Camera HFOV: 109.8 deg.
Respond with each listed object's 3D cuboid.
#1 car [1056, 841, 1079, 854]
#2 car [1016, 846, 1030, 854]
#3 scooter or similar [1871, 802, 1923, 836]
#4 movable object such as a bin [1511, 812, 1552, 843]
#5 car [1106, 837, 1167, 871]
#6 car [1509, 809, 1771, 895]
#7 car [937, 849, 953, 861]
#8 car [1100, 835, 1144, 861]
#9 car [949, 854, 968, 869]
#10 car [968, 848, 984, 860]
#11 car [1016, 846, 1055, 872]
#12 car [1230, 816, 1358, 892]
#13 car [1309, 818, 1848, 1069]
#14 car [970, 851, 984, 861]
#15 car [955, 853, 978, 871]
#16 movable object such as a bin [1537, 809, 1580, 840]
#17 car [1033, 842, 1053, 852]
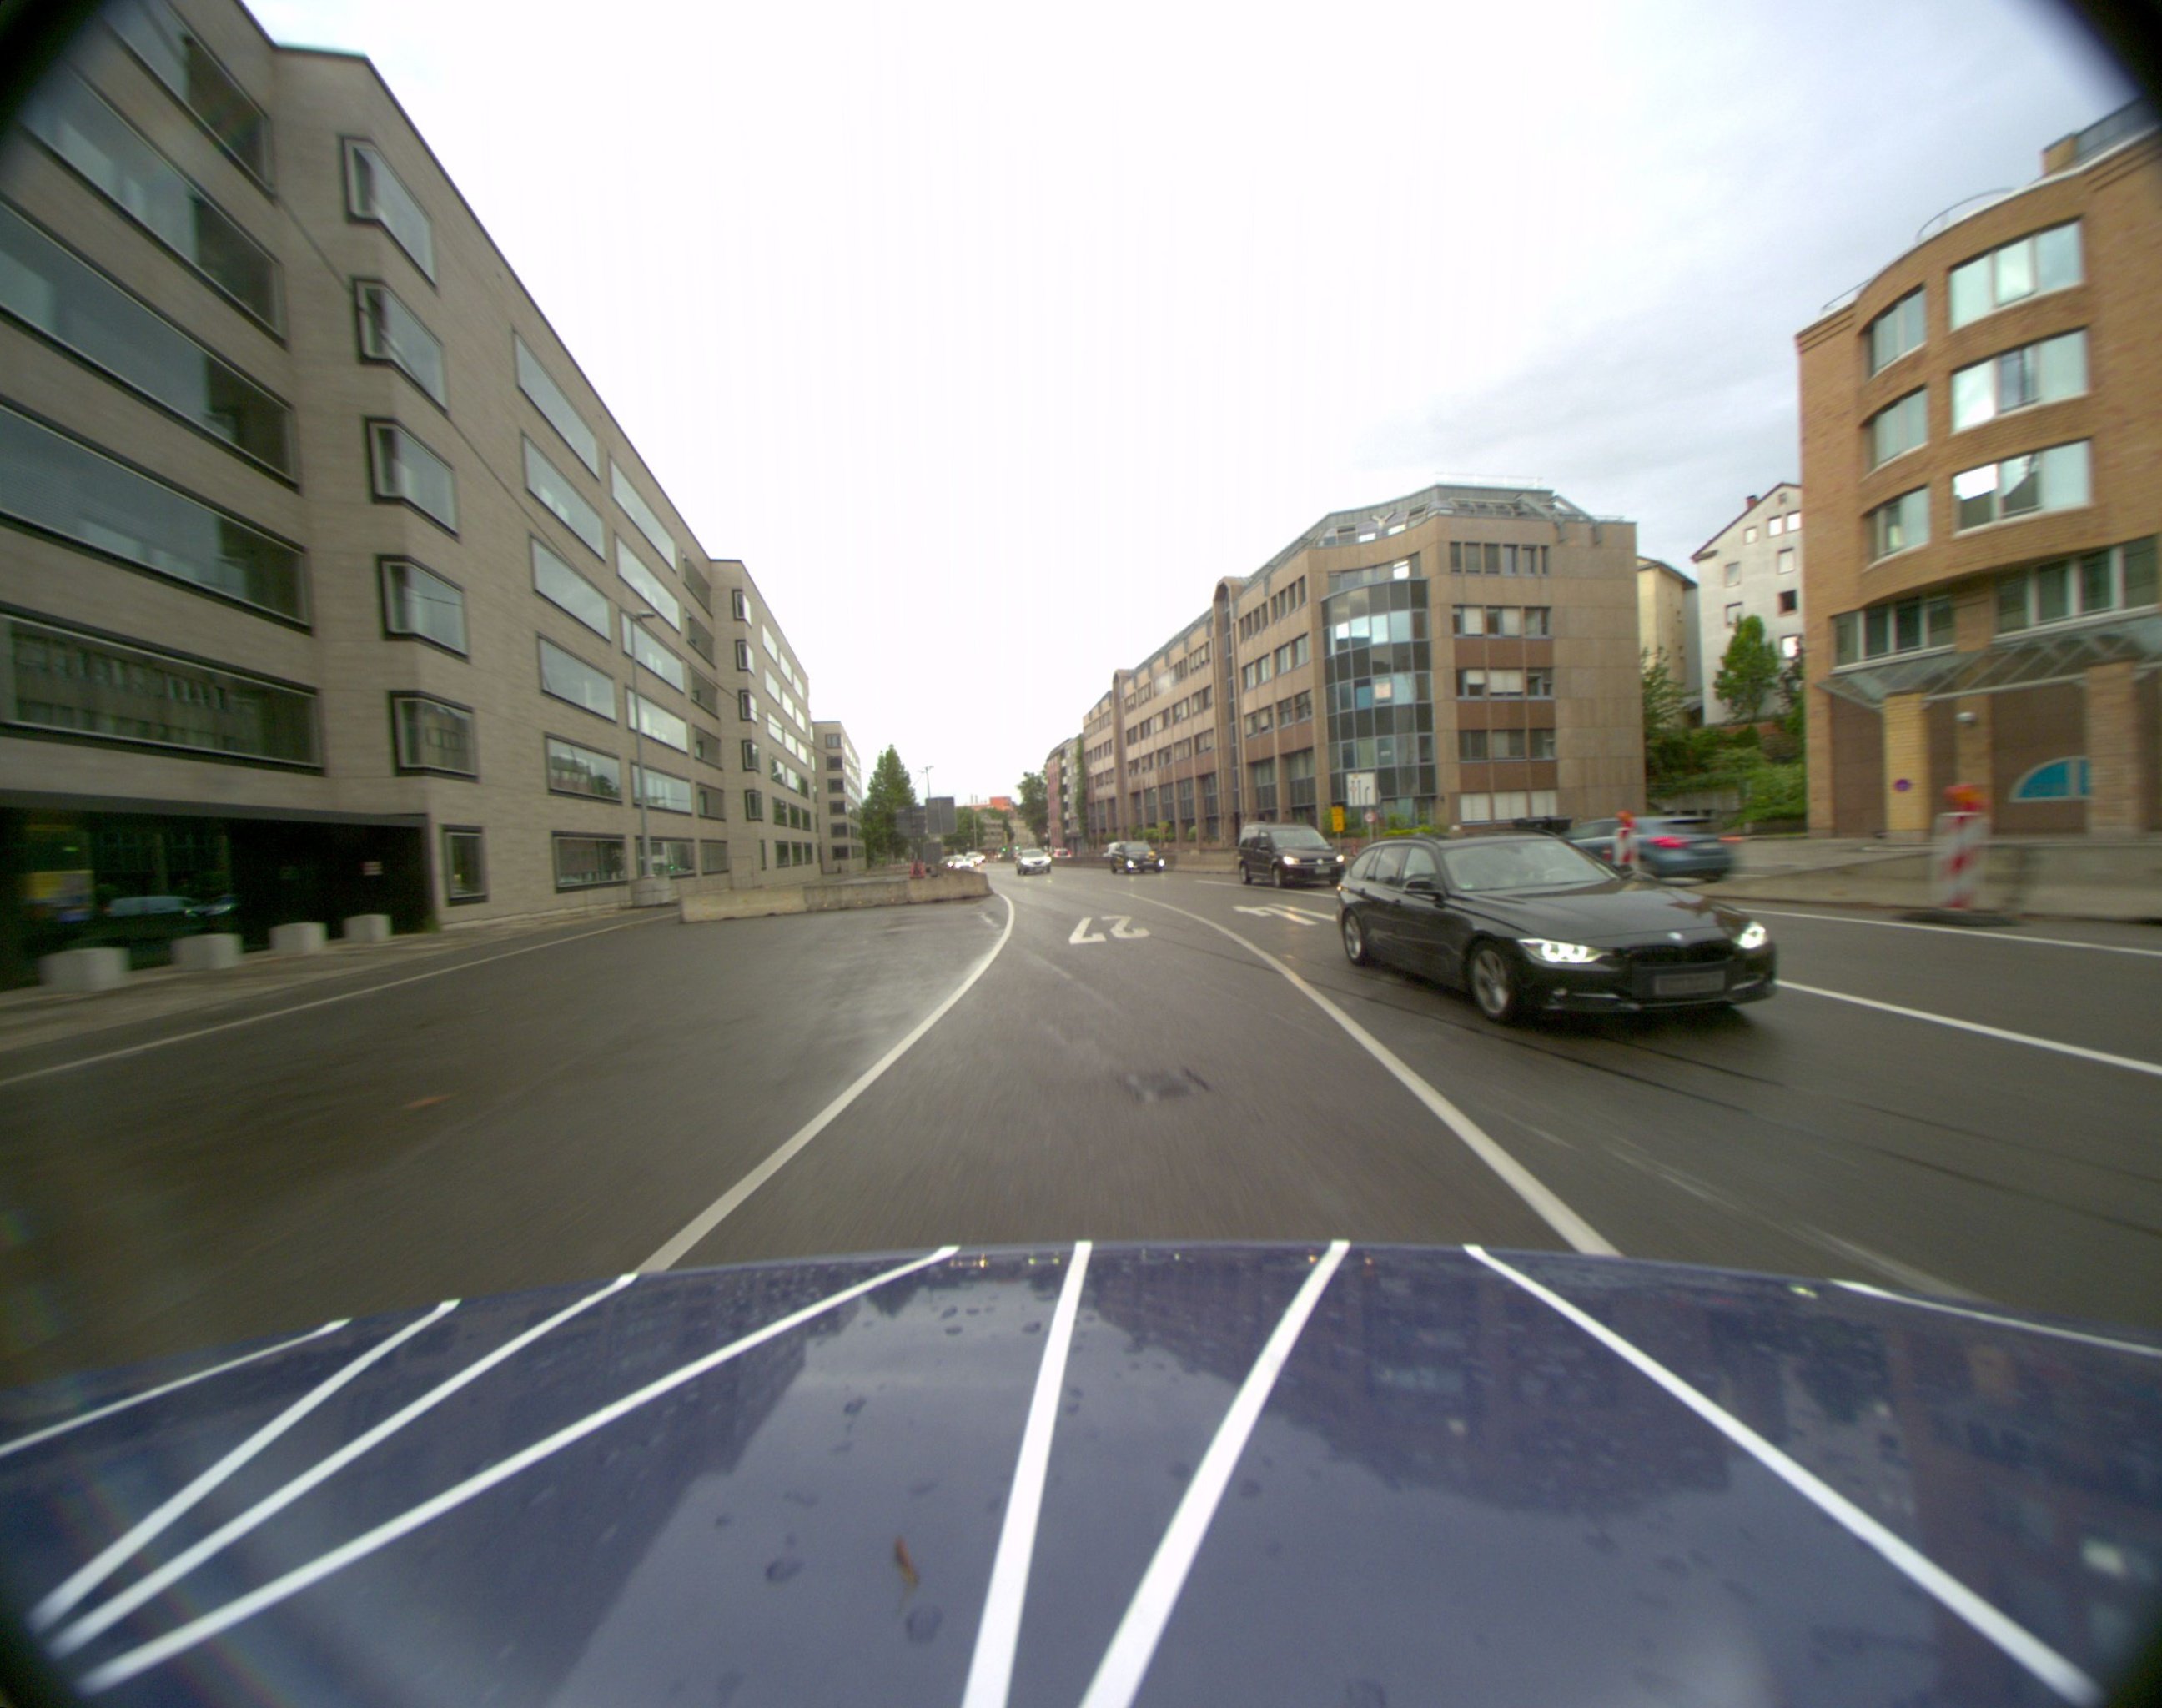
[{"bbox_3d":[-1.405,-0.650,75.773,1.618,1.224,3.723,-4,1,-10],"label":"car"},{"bbox_3d":[-9.788,-0.673,128.349,1.725,1.312,3.692,-4,1,-13],"label":"car"},{"bbox_3d":[26.584,-1.135,24.759,0.450,1.057,1.043,-4,1,-23],"label":"scooter or similar"},{"bbox_3d":[23.288,-1.366,39.302,1.246,1.471,1.349,-4,1,-5],"label":"movable object such as a bin"},{"bbox_3d":[2.684,0.000,38.070,1.774,1.525,4.351,-4,1,-13],"label":"car"},{"bbox_3d":[11.527,-0.059,16.110,2.000,1.451,4.224,-4,1,-9],"label":"car"},{"bbox_3d":[-18.489,0.142,103.135,1.774,1.525,4.651,-4,1,-13],"label":"car"},{"bbox_3d":[3.090,-0.461,58.370,1.893,1.773,4.870,-4,1,-14],"label":"car"},{"bbox_3d":[-14.016,0.874,86.843,1.774,1.525,4.651,-4,1,-13],"label":"car"},{"bbox_3d":[-14.196,-0.020,102.615,1.774,1.525,4.651,-4,1,-13],"label":"car"},{"bbox_3d":[-3.090,0.333,50.384,1.774,1.525,4.651,-4,1,-13],"label":"car"},{"bbox_3d":[5.780,-0.030,21.207,1.800,1.790,4.247,-4,1,-8],"label":"car"},{"bbox_3d":[3.797,0.521,7.034,1.772,1.435,4.654,-4,1,-2],"label":"car"},{"bbox_3d":[-16.955,0.284,124.086,1.774,1.525,4.651,-4,1,-13],"label":"car"},{"bbox_3d":[-11.086,0.735,73.054,1.774,1.525,4.651,-4,1,-13],"label":"car"},{"bbox_3d":[24.875,-1.522,39.606,1.246,1.471,1.349,-4,1,-5],"label":"movable object such as a bin"},{"bbox_3d":[-5.383,-0.928,107.785,1.851,1.262,4.543,-4,1,-16],"label":"car"}]
